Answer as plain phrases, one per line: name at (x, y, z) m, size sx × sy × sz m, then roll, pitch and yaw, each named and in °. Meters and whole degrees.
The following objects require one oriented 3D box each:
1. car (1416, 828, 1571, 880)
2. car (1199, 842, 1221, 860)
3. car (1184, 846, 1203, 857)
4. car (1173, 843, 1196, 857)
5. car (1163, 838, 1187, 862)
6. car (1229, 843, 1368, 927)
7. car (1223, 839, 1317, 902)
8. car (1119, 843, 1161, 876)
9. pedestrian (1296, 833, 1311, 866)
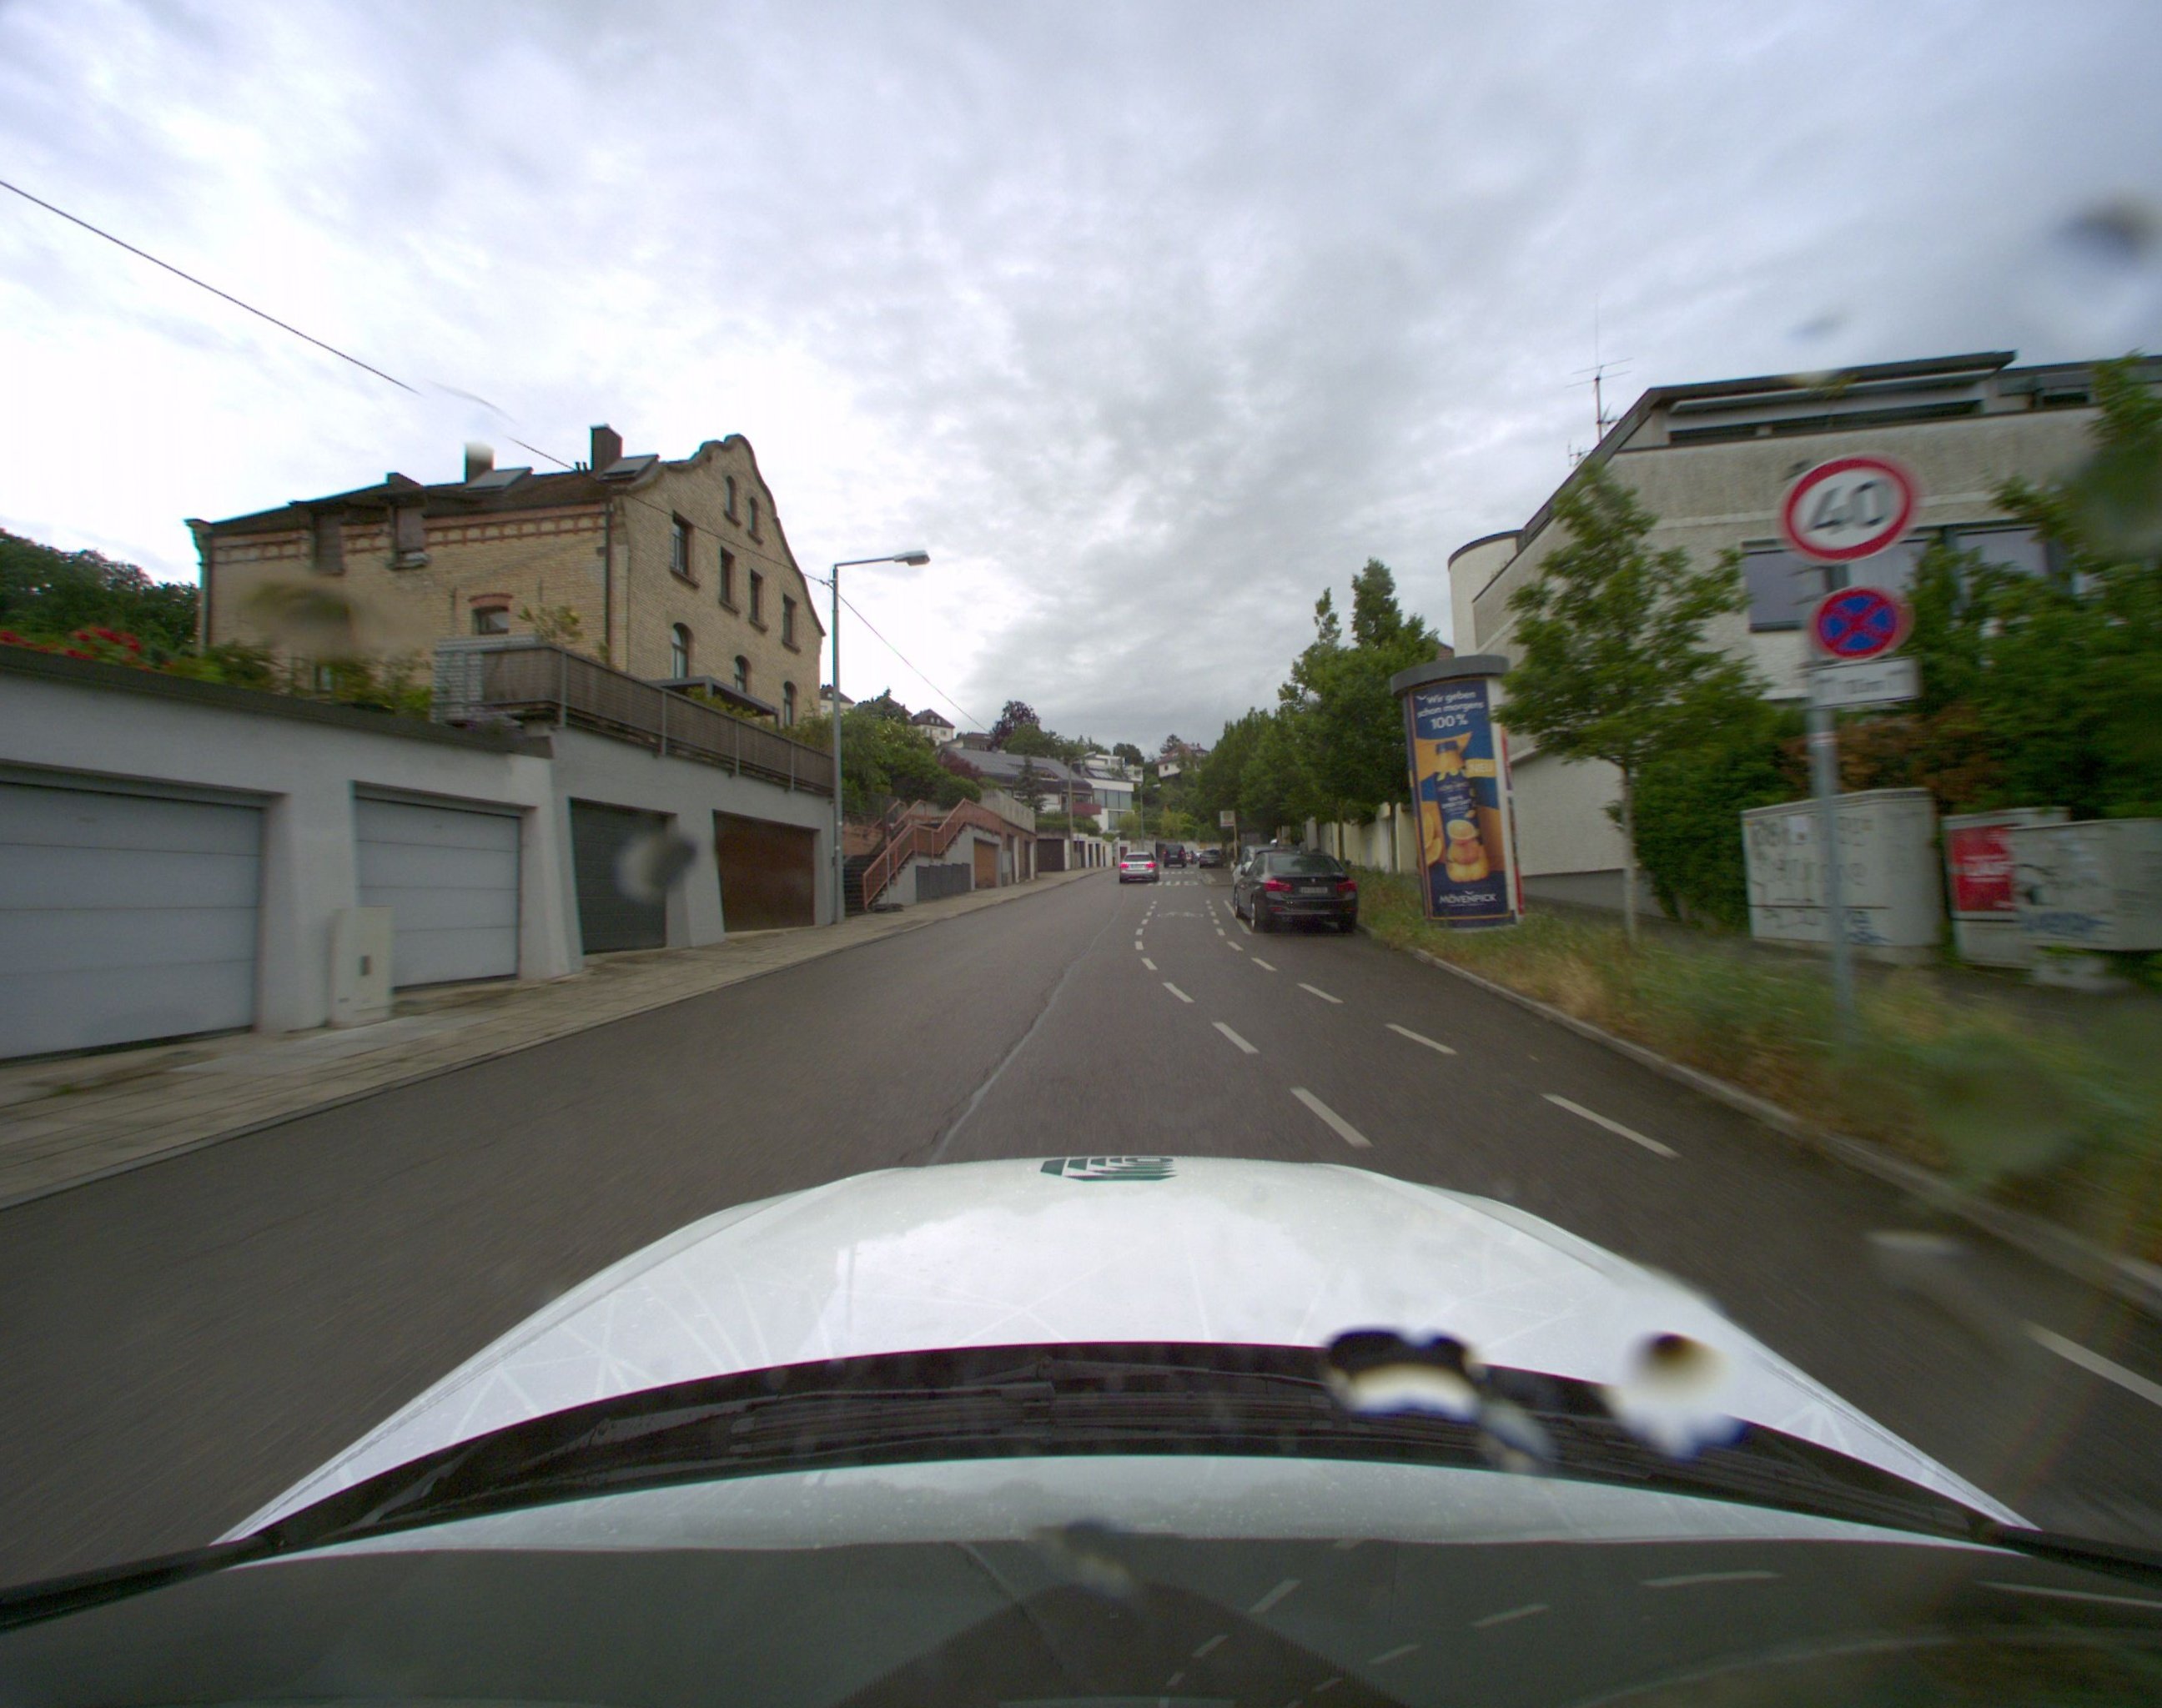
car at (12.106, 0.013, 24.207) m, size 3.952 × 1.415 × 1.734 m, roll -1°, pitch 0°, yaw 21°
car at (9.743, -0.230, 61.472) m, size 1.459 × 1.254 × 3.593 m, roll -1°, pitch 0°, yaw 11°
car at (14.568, -0.312, 105.258) m, size 1.810 × 1.296 × 4.016 m, roll -1°, pitch 0°, yaw 15°
car at (10.131, -0.352, 79.603) m, size 1.811 × 1.296 × 4.014 m, roll -1°, pitch 0°, yaw 13°
car at (7.521, -0.308, 64.879) m, size 1.814 × 1.819 × 4.009 m, roll -1°, pitch 0°, yaw 8°
car at (4.013, 0.509, 15.746) m, size 1.763 × 1.377 × 4.353 m, roll -1°, pitch 0°, yaw 4°
car at (4.778, 0.383, 21.097) m, size 1.708 × 1.450 × 3.836 m, roll -1°, pitch 0°, yaw 3°
car at (2.882, 0.220, 39.041) m, size 1.802 × 1.360 × 4.008 m, roll 1°, pitch 2°, yaw 6°
pedestrian at (12.386, -0.241, 45.348) m, size 0.635 × 1.795 × 0.745 m, roll -1°, pitch 0°, yaw 4°
